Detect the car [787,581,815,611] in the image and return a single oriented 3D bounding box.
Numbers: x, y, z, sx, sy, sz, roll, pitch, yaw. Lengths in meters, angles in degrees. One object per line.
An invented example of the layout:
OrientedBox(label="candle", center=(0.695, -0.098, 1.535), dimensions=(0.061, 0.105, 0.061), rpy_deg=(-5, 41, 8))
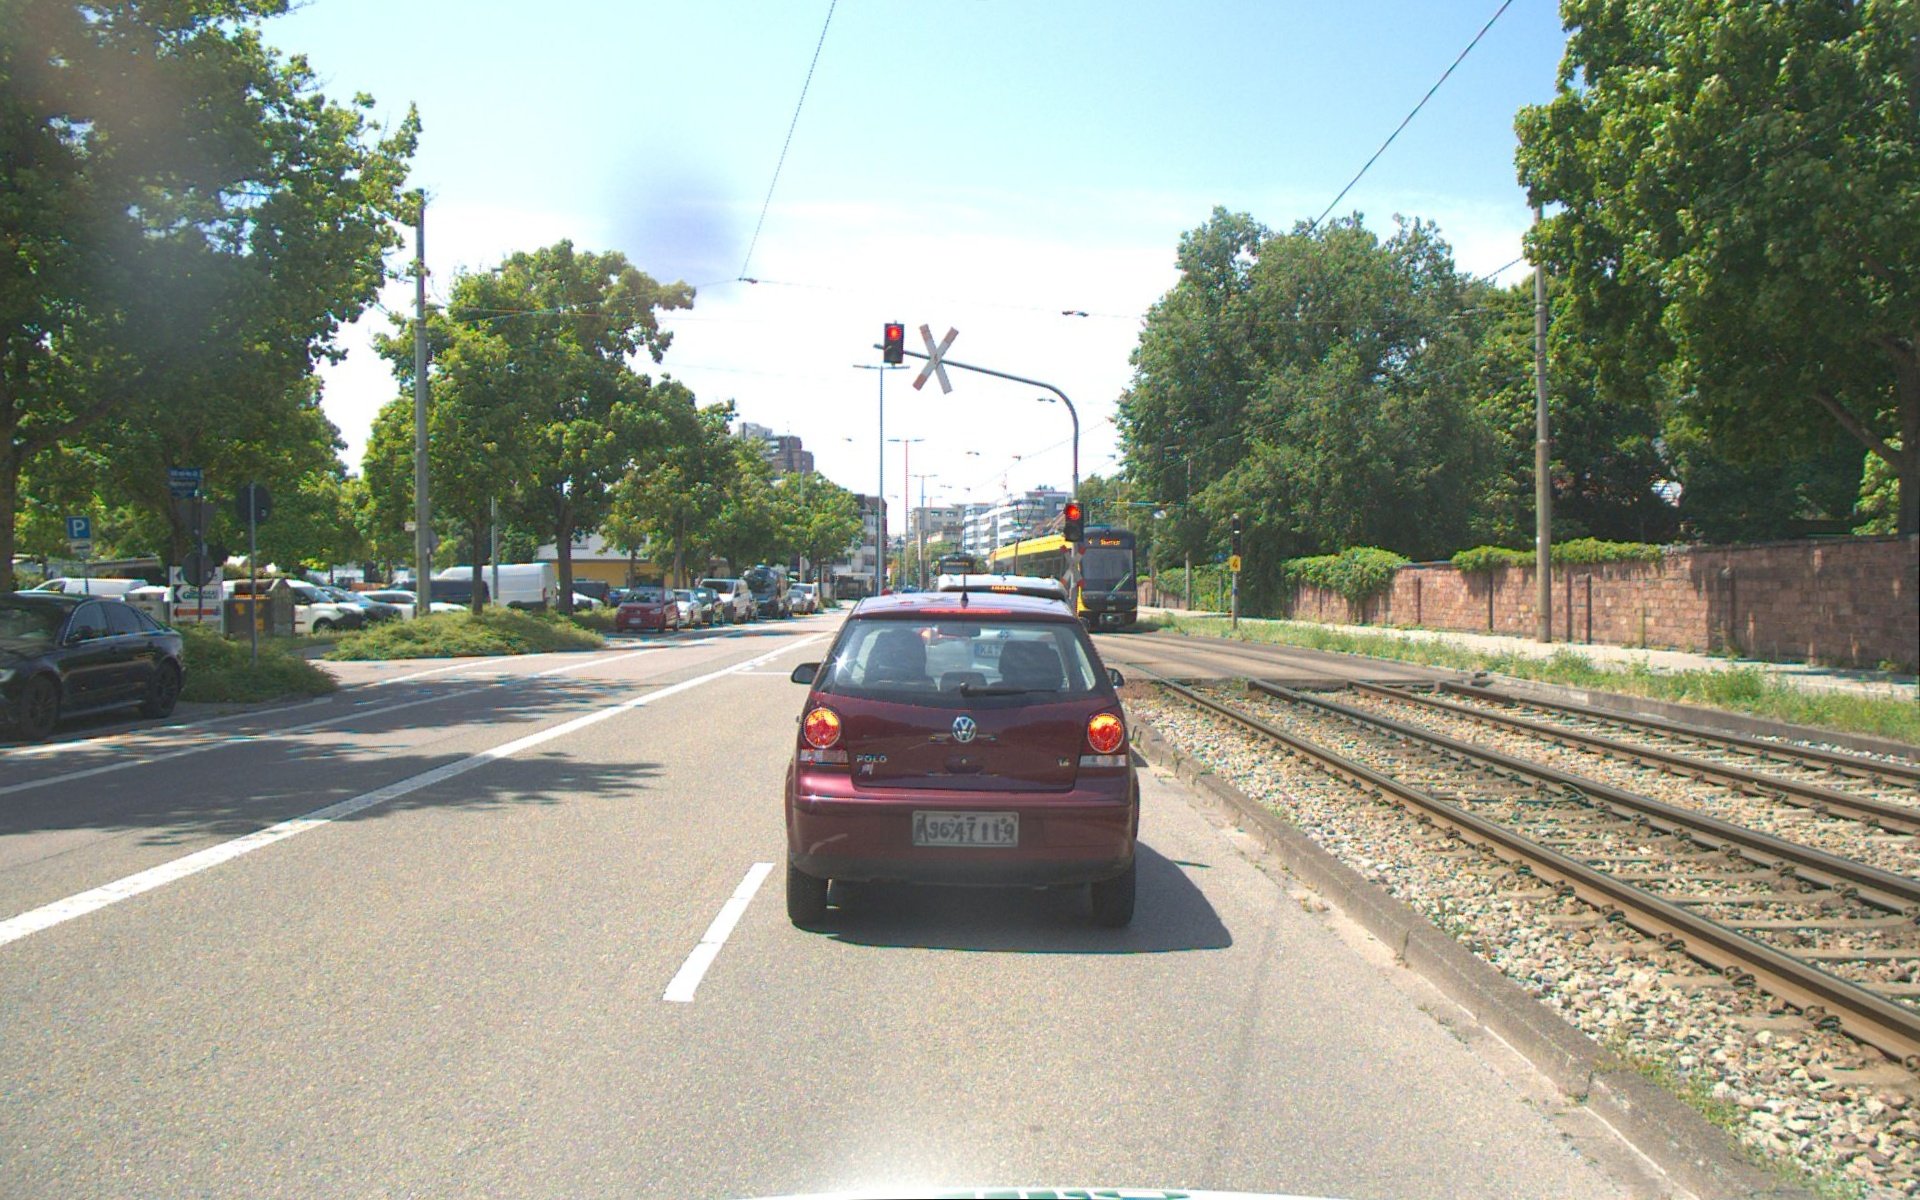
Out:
OrientedBox(label="car", center=(-10.511, -0.248, 109.149), dimensions=(1.741, 1.860, 3.995), rpy_deg=(2, 0, -6))

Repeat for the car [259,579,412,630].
OrientedBox(label="car", center=(-20.337, 0.152, 53.963), dimensions=(4.251, 1.612, 1.914), rpy_deg=(0, 0, 5))

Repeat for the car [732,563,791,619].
OrientedBox(label="car", center=(-10.245, -0.442, 85.871), dimensions=(2.313, 2.739, 5.307), rpy_deg=(2, 0, 0))

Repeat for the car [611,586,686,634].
OrientedBox(label="car", center=(-10.509, 0.332, 56.035), dimensions=(1.628, 1.523, 4.000), rpy_deg=(2, 0, 1))

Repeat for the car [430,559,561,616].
OrientedBox(label="car", center=(-20.330, -0.538, 72.552), dimensions=(4.993, 2.283, 2.378), rpy_deg=(2, 0, 0))

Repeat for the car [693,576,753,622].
OrientedBox(label="car", center=(-10.401, -0.024, 72.825), dimensions=(1.746, 1.914, 4.787), rpy_deg=(2, 0, 2))

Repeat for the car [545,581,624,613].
OrientedBox(label="car", center=(-21.130, -0.159, 93.225), dimensions=(3.938, 1.645, 1.816), rpy_deg=(2, 0, 0))

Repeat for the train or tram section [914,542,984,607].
OrientedBox(label="train or tram section", center=(-0.802, -1.578, 101.771), dimensions=(2.689, 3.672, 12.849), rpy_deg=(2, 1, -7))

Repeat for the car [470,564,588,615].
OrientedBox(label="car", center=(-20.960, -0.490, 80.567), dimensions=(4.993, 2.283, 2.378), rpy_deg=(2, 0, 0))

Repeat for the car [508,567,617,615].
OrientedBox(label="car", center=(-20.676, -0.449, 86.229), dimensions=(4.993, 2.283, 2.378), rpy_deg=(2, 0, 0))

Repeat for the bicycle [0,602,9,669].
OrientedBox(label="bicycle", center=(-15.416, 0.537, 25.221), dimensions=(0.686, 1.047, 1.829), rpy_deg=(2, 0, 2))

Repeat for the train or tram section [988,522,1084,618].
OrientedBox(label="train or tram section", center=(3.190, -1.286, 73.373), dimensions=(2.968, 3.864, 13.082), rpy_deg=(0, 1, -3))

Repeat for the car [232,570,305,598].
OrientedBox(label="car", center=(-44.895, -1.009, 107.454), dimensions=(3.938, 1.645, 1.816), rpy_deg=(2, 0, 0))

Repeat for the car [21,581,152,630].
OrientedBox(label="car", center=(-32.794, 0.202, 62.183), dimensions=(3.913, 1.682, 1.812), rpy_deg=(2, 0, -9))

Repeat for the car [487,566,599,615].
OrientedBox(label="car", center=(-21.071, -0.477, 83.711), dimensions=(4.993, 2.283, 2.378), rpy_deg=(2, 0, 0))

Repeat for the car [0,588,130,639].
OrientedBox(label="car", center=(-32.429, 0.468, 59.776), dimensions=(3.913, 1.682, 1.812), rpy_deg=(2, 0, -9))

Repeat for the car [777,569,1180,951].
OrientedBox(label="car", center=(0.031, 0.647, 8.880), dimensions=(1.638, 1.548, 3.999), rpy_deg=(2, 1, -1))

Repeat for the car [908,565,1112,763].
OrientedBox(label="car", center=(0.389, 0.539, 16.431), dimensions=(1.741, 1.676, 3.999), rpy_deg=(2, 1, -2))

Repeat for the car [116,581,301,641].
OrientedBox(label="car", center=(-20.907, 0.292, 46.146), dimensions=(4.256, 1.612, 1.912), rpy_deg=(0, 0, -3))

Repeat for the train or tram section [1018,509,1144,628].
OrientedBox(label="train or tram section", center=(4.182, -1.087, 60.391), dimensions=(2.968, 3.864, 13.082), rpy_deg=(0, 1, -3))

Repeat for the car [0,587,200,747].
OrientedBox(label="car", center=(-10.300, 0.643, 18.287), dimensions=(1.782, 1.502, 4.448), rpy_deg=(2, 1, -1))

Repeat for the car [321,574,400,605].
OrientedBox(label="car", center=(-35.255, -0.614, 97.264), dimensions=(3.939, 1.645, 1.816), rpy_deg=(2, 0, -2))

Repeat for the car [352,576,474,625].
OrientedBox(label="car", center=(-20.471, 0.012, 61.994), dimensions=(3.906, 1.776, 1.998), rpy_deg=(0, 0, -2))

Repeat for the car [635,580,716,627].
OrientedBox(label="car", center=(-10.697, 0.151, 62.582), dimensions=(1.934, 1.629, 4.560), rpy_deg=(2, 0, 4))

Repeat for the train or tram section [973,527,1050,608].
OrientedBox(label="train or tram section", center=(2.547, -1.636, 86.186), dimensions=(2.968, 3.864, 12.753), rpy_deg=(0, 1, -3))

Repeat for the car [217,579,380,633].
OrientedBox(label="car", center=(-20.422, 0.179, 51.125), dimensions=(4.251, 1.612, 1.914), rpy_deg=(0, 0, 5))

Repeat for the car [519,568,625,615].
OrientedBox(label="car", center=(-20.807, -0.439, 88.823), dimensions=(4.993, 2.283, 2.378), rpy_deg=(2, 0, 0))

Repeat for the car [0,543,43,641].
OrientedBox(label="car", center=(-33.072, -0.357, 52.214), dimensions=(6.714, 3.017, 2.363), rpy_deg=(2, -1, -2))

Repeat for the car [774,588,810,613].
OrientedBox(label="car", center=(-10.465, 0.040, 103.234), dimensions=(1.581, 1.466, 4.001), rpy_deg=(2, 0, 3))
